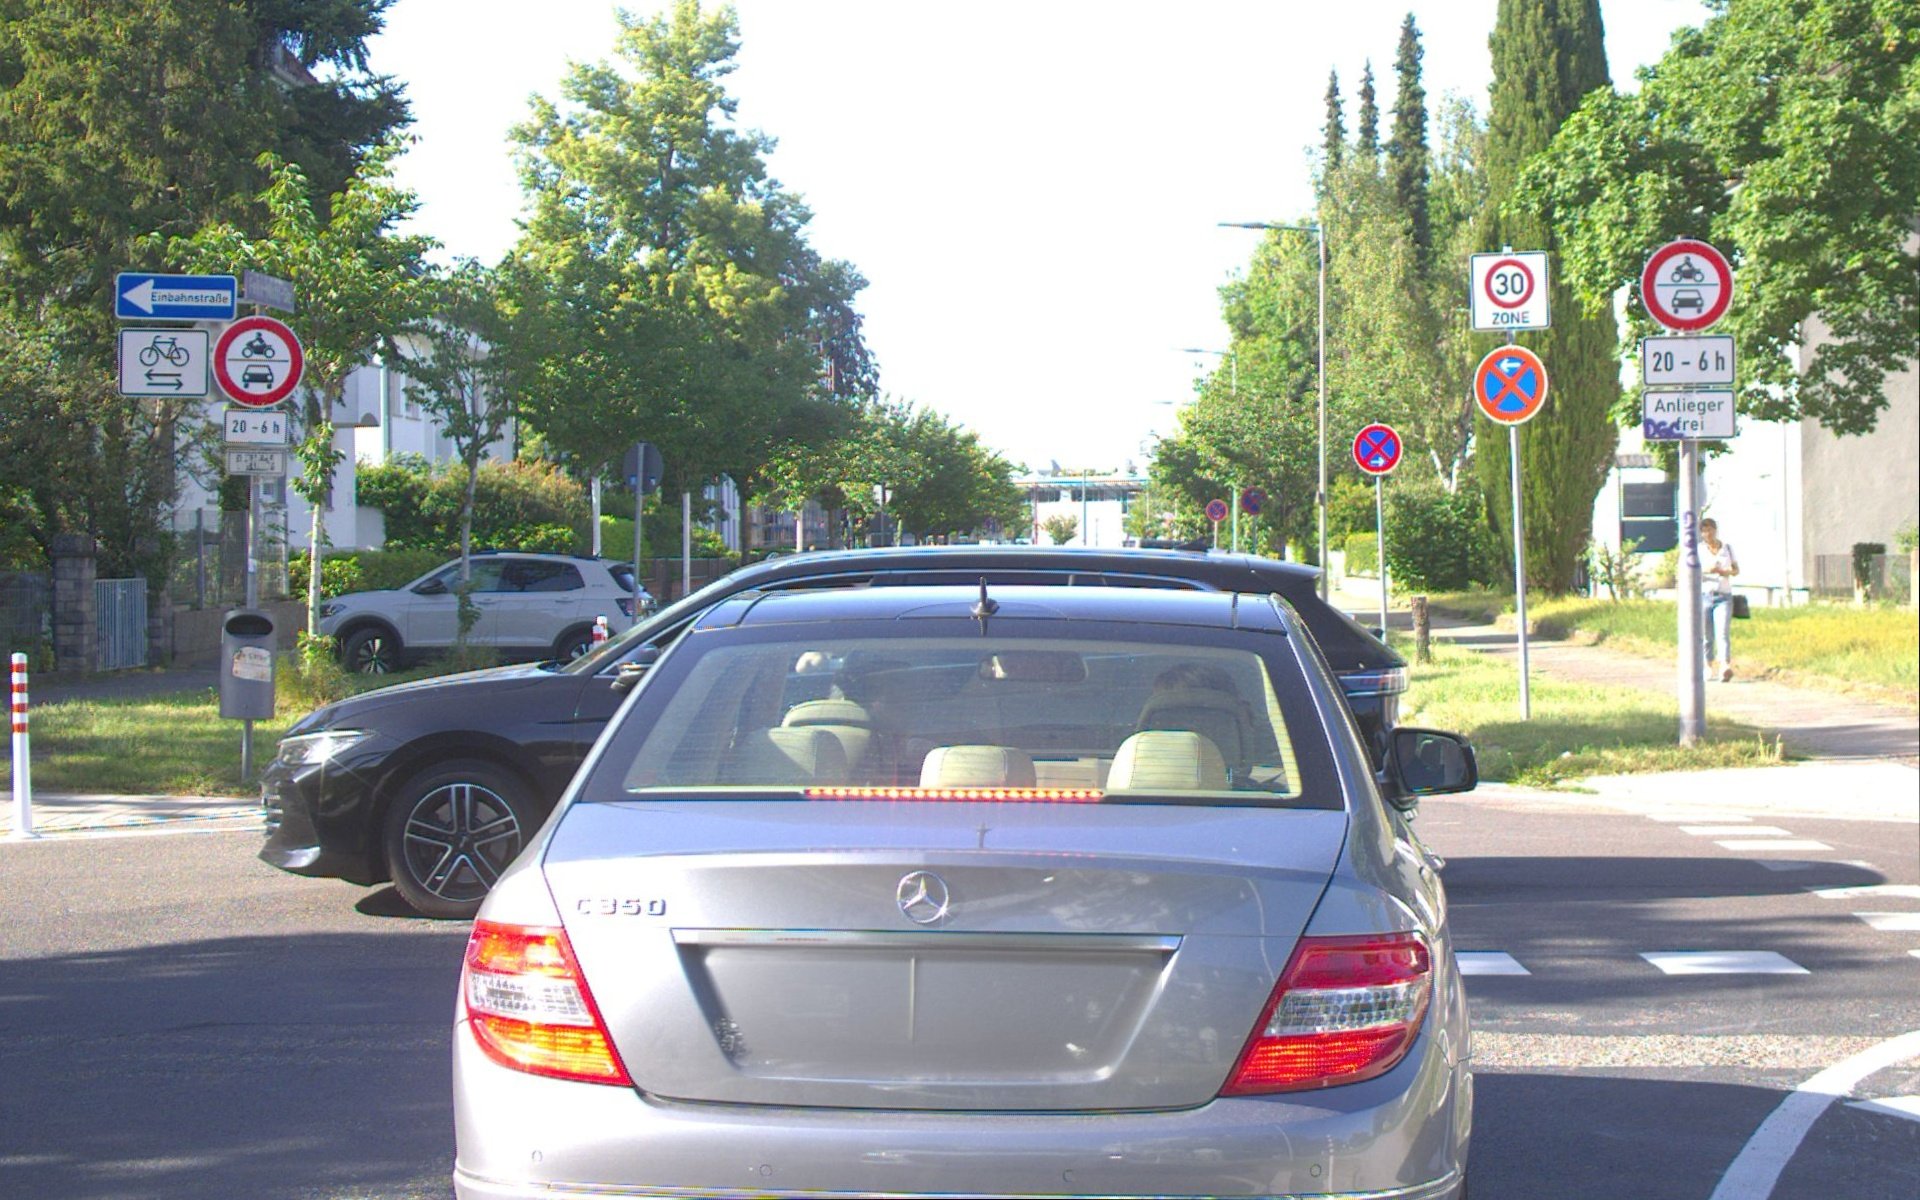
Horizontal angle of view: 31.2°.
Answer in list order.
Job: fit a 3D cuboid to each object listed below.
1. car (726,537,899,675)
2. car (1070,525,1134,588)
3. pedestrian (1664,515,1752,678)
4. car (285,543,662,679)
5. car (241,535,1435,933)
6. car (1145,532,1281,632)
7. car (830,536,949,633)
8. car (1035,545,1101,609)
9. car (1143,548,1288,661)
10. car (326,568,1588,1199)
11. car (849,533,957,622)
[{"bbox_3d":[-1.905,0.043,45.488,1.993,1.604,4.000,-4,1,0],"label":"car"},{"bbox_3d":[4.245,-1.323,103.144,1.855,1.835,4.000,-1,1,2],"label":"car"},{"bbox_3d":[7.471,-0.041,34.353,0.766,1.605,0.834,-1,1,7],"label":"pedestrian"},{"bbox_3d":[-5.681,0.109,40.489,4.192,1.558,1.842,0,1,-1],"label":"car"},{"bbox_3d":[-0.484,0.516,14.709,4.740,1.519,2.000,-1,1,0],"label":"car"},{"bbox_3d":[4.250,-0.330,58.320,1.993,1.604,4.000,-1,1,0],"label":"car"},{"bbox_3d":[-1.267,-0.312,63.284,1.993,1.604,4.000,-4,1,0],"label":"car"},{"bbox_3d":[2.820,-0.626,90.445,1.597,1.604,3.644,-1,1,0],"label":"car"},{"bbox_3d":[3.511,0.029,47.729,1.733,1.474,3.725,-1,1,0],"label":"car"},{"bbox_3d":[0.100,0.666,6.998,1.836,1.436,4.000,0,1,3],"label":"car"},{"bbox_3d":[-1.117,-0.480,69.074,1.993,1.604,4.000,-4,1,0],"label":"car"}]
